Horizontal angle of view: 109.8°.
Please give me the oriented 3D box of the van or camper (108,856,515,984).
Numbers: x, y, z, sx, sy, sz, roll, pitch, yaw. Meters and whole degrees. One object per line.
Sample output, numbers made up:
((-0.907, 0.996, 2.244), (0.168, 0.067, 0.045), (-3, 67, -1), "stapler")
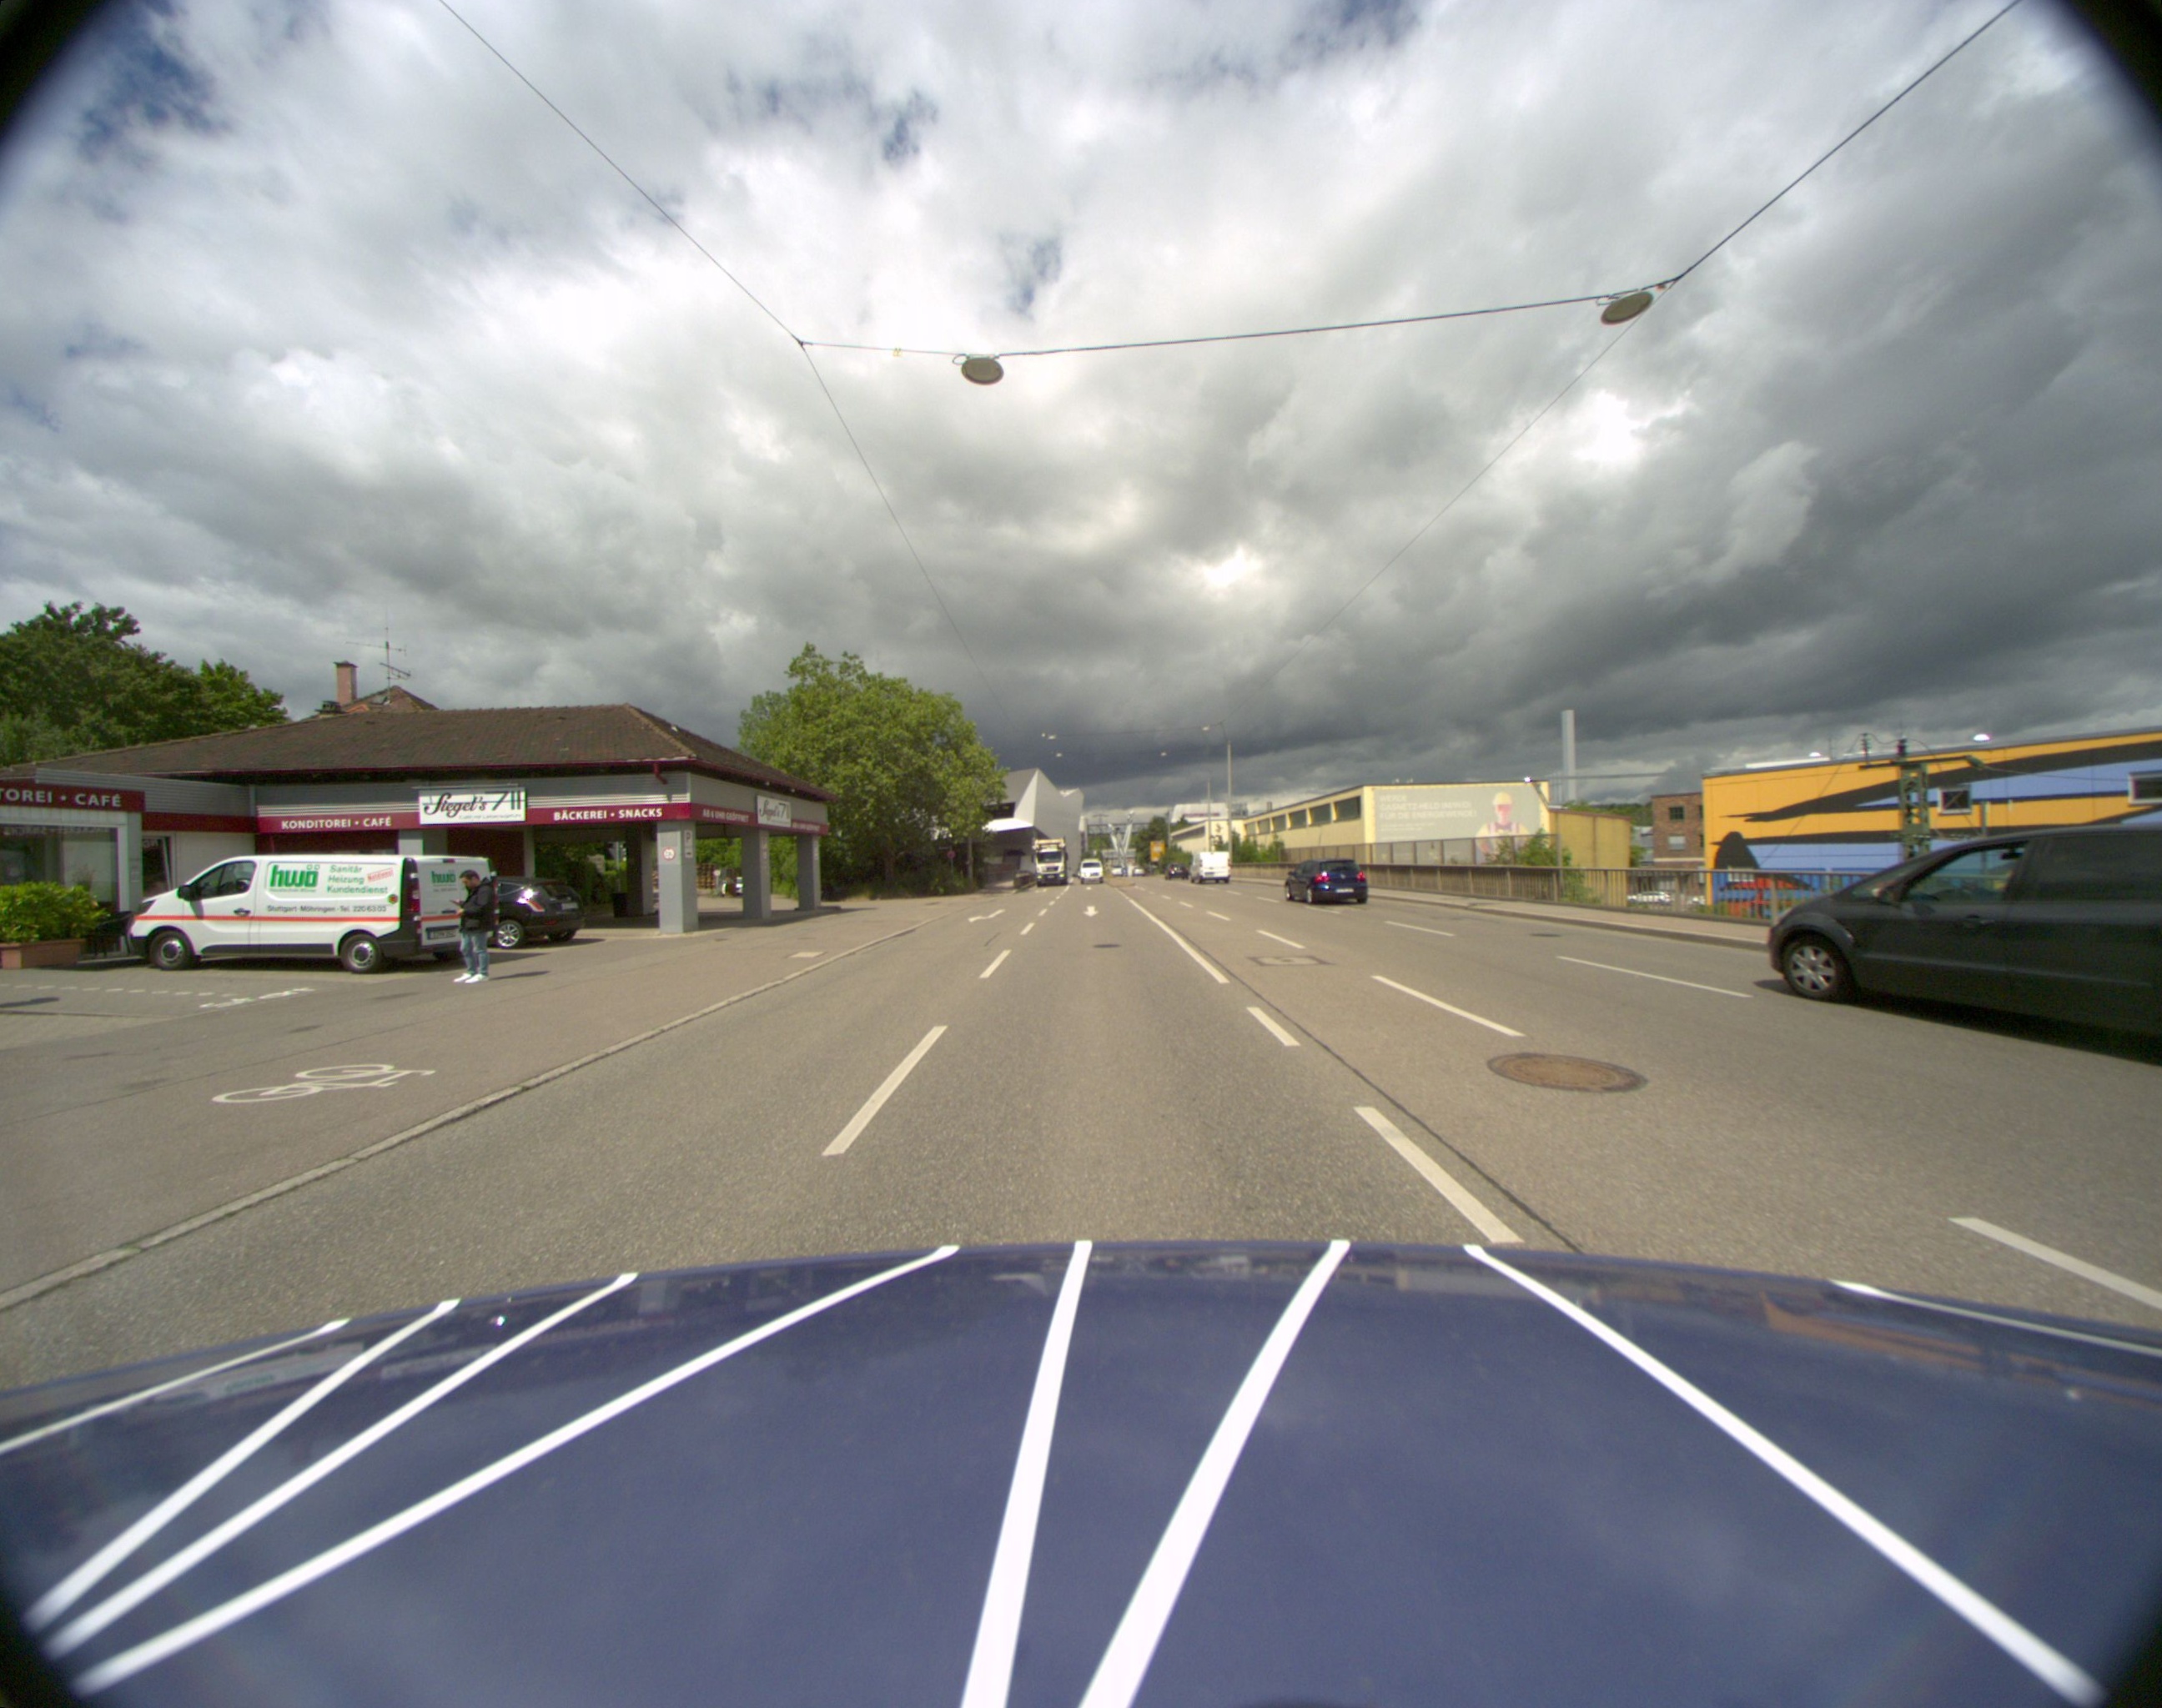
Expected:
((-13.201, 1.061, 13.323), (4.909, 1.946, 2.212), (1, 1, 1), "van or camper")

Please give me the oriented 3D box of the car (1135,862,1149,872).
((8.725, 1.846, 109.563), (1.612, 1.404, 3.799), (-1, 0, -1), "car")

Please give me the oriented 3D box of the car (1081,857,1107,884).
((1.139, 1.321, 62.832), (1.935, 2.078, 4.209), (-1, 0, 3), "car")

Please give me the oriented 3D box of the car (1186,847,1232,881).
((8.128, 0.618, 48.602), (1.896, 2.002, 5.650), (-2, 0, 0), "car")

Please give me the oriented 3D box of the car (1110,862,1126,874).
((5.178, 1.909, 106.674), (1.806, 1.543, 3.770), (-2, 0, -3), "car")

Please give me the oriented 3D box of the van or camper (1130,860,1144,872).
((10.586, 2.210, 144.159), (2.164, 2.108, 5.470), (-1, 0, -1), "van or camper")

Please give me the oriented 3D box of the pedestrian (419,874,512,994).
((-9.147, 1.167, 11.318), (0.714, 1.697, 0.739), (-2, 0, 1), "pedestrian")

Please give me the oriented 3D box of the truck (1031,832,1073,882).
((-2.324, 0.215, 64.729), (2.836, 3.889, 10.366), (-1, 0, 2), "truck")

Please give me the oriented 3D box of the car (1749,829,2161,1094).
((7.857, 0.686, 5.570), (1.916, 1.692, 4.625), (0, 0, 1), "car")

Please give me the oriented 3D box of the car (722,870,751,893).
((-27.850, 2.190, 61.510), (2.003, 1.709, 4.104), (3, -1, -23), "car")

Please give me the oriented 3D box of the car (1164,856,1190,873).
((8.079, 0.868, 64.455), (1.612, 1.404, 3.799), (-2, 0, -1), "car")

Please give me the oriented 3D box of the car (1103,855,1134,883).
((2.480, 0.986, 51.460), (1.870, 1.782, 4.208), (-1, 0, 0), "car")

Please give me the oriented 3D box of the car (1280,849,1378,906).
((7.879, 0.708, 24.502), (1.861, 1.608, 4.000), (-2, 0, 1), "car")

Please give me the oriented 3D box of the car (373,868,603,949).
((-12.615, 1.130, 16.345), (3.460, 1.477, 1.835), (2, 1, -2), "car")

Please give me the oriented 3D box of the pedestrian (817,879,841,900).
((-15.096, 2.133, 45.535), (0.884, 1.241, 0.967), (-2, 0, 29), "pedestrian")
